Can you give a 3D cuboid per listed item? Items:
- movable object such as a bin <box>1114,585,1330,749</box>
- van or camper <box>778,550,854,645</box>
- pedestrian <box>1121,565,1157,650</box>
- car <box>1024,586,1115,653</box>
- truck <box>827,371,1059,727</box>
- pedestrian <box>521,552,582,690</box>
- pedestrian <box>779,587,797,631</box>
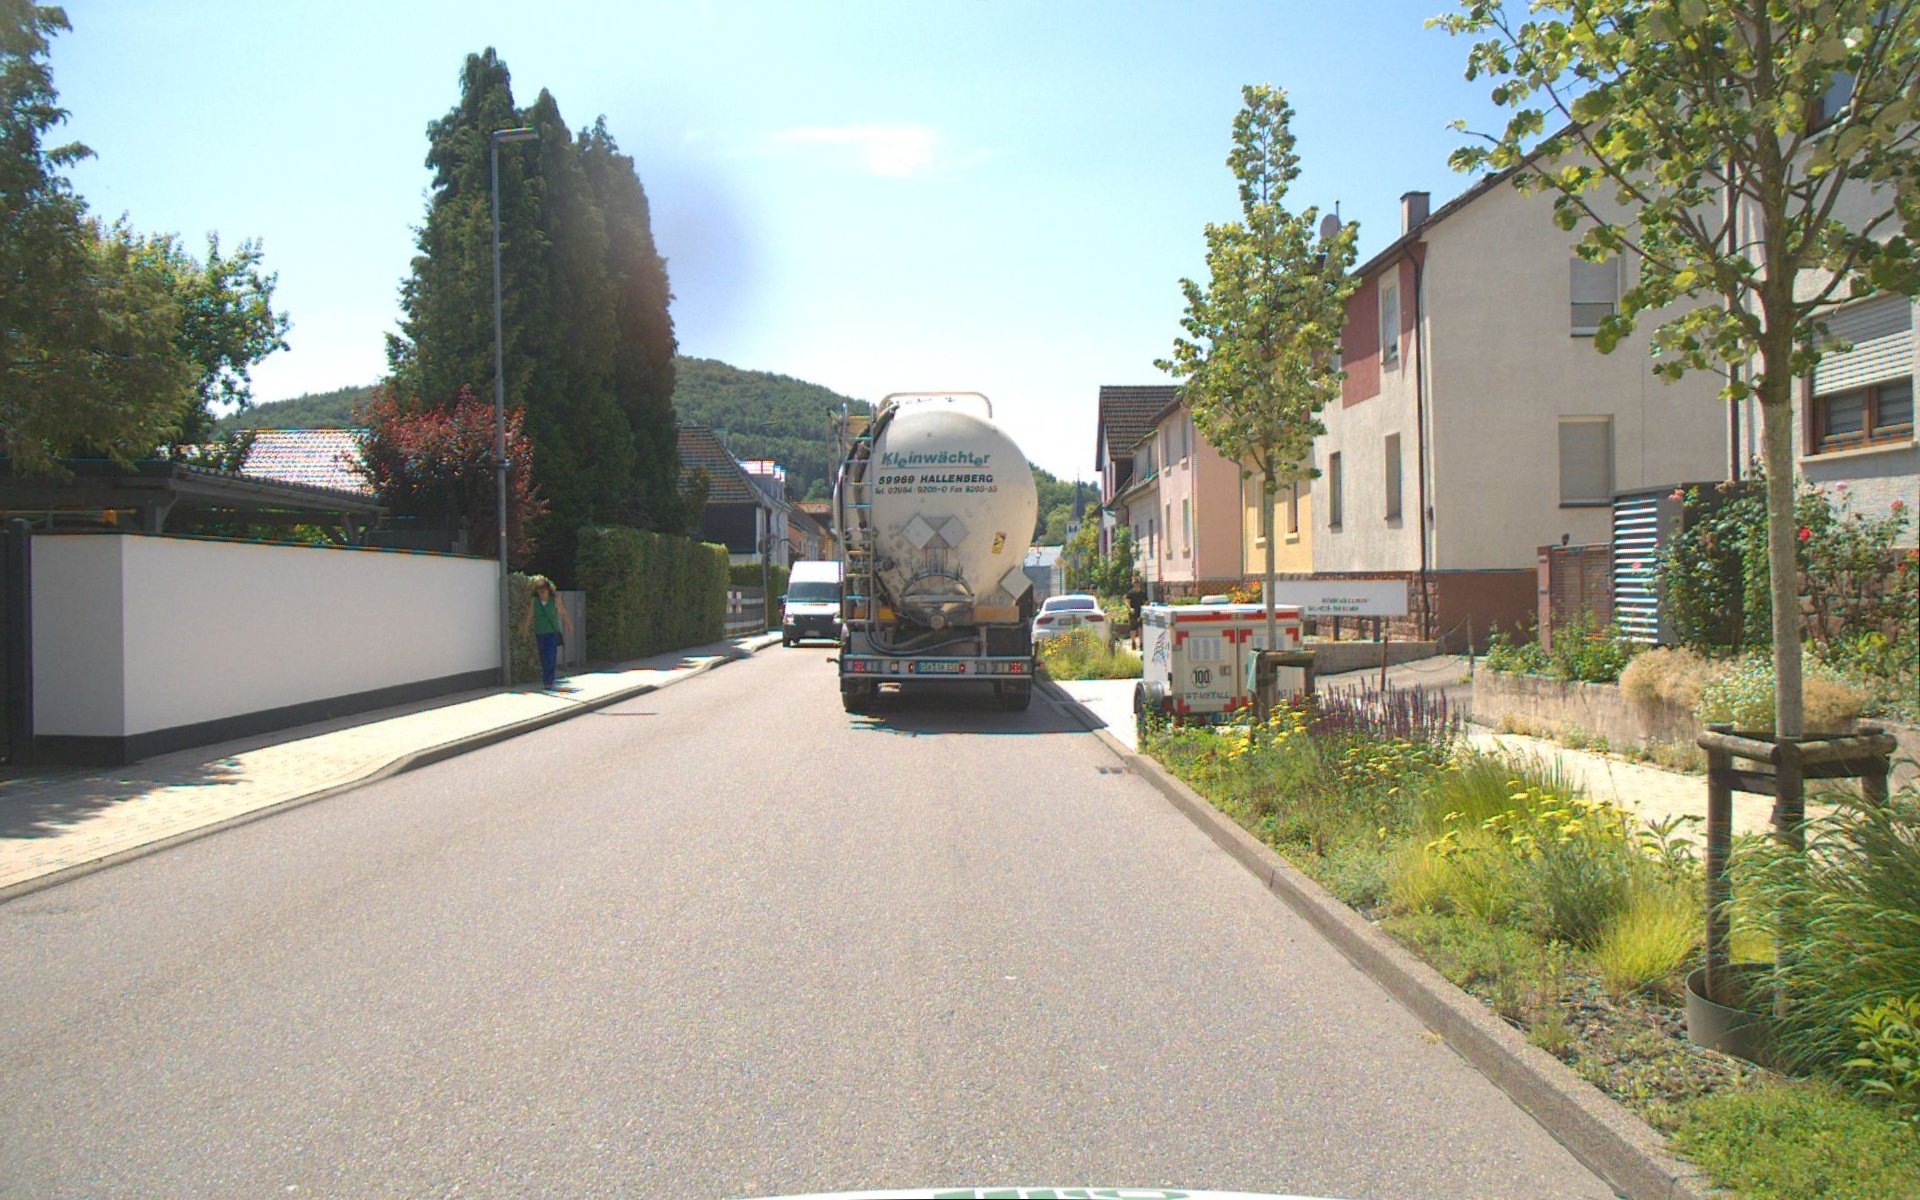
[{"bbox_3d":[2.504,0.623,16.409,1.540,1.441,3.040,-1,-1,-2],"label":"movable object such as a bin"},{"bbox_3d":[-4.438,-0.027,51.853,1.996,2.761,5.822,1,-1,-2],"label":"van or camper"},{"bbox_3d":[4.381,0.182,40.535,0.731,2.049,1.033,1,-1,0],"label":"pedestrian"},{"bbox_3d":[2.579,0.503,39.783,1.721,1.442,4.631,-3,-1,-1],"label":"car"},{"bbox_3d":[-0.349,-0.593,24.654,2.694,4.128,10.885,0,0,-2],"label":"truck"},{"bbox_3d":[-6.175,0.313,25.060,0.706,2.049,0.804,1,-1,-2],"label":"pedestrian"},{"bbox_3d":[-7.217,0.378,69.489,0.698,1.855,0.897,1,-1,-5],"label":"pedestrian"}]
